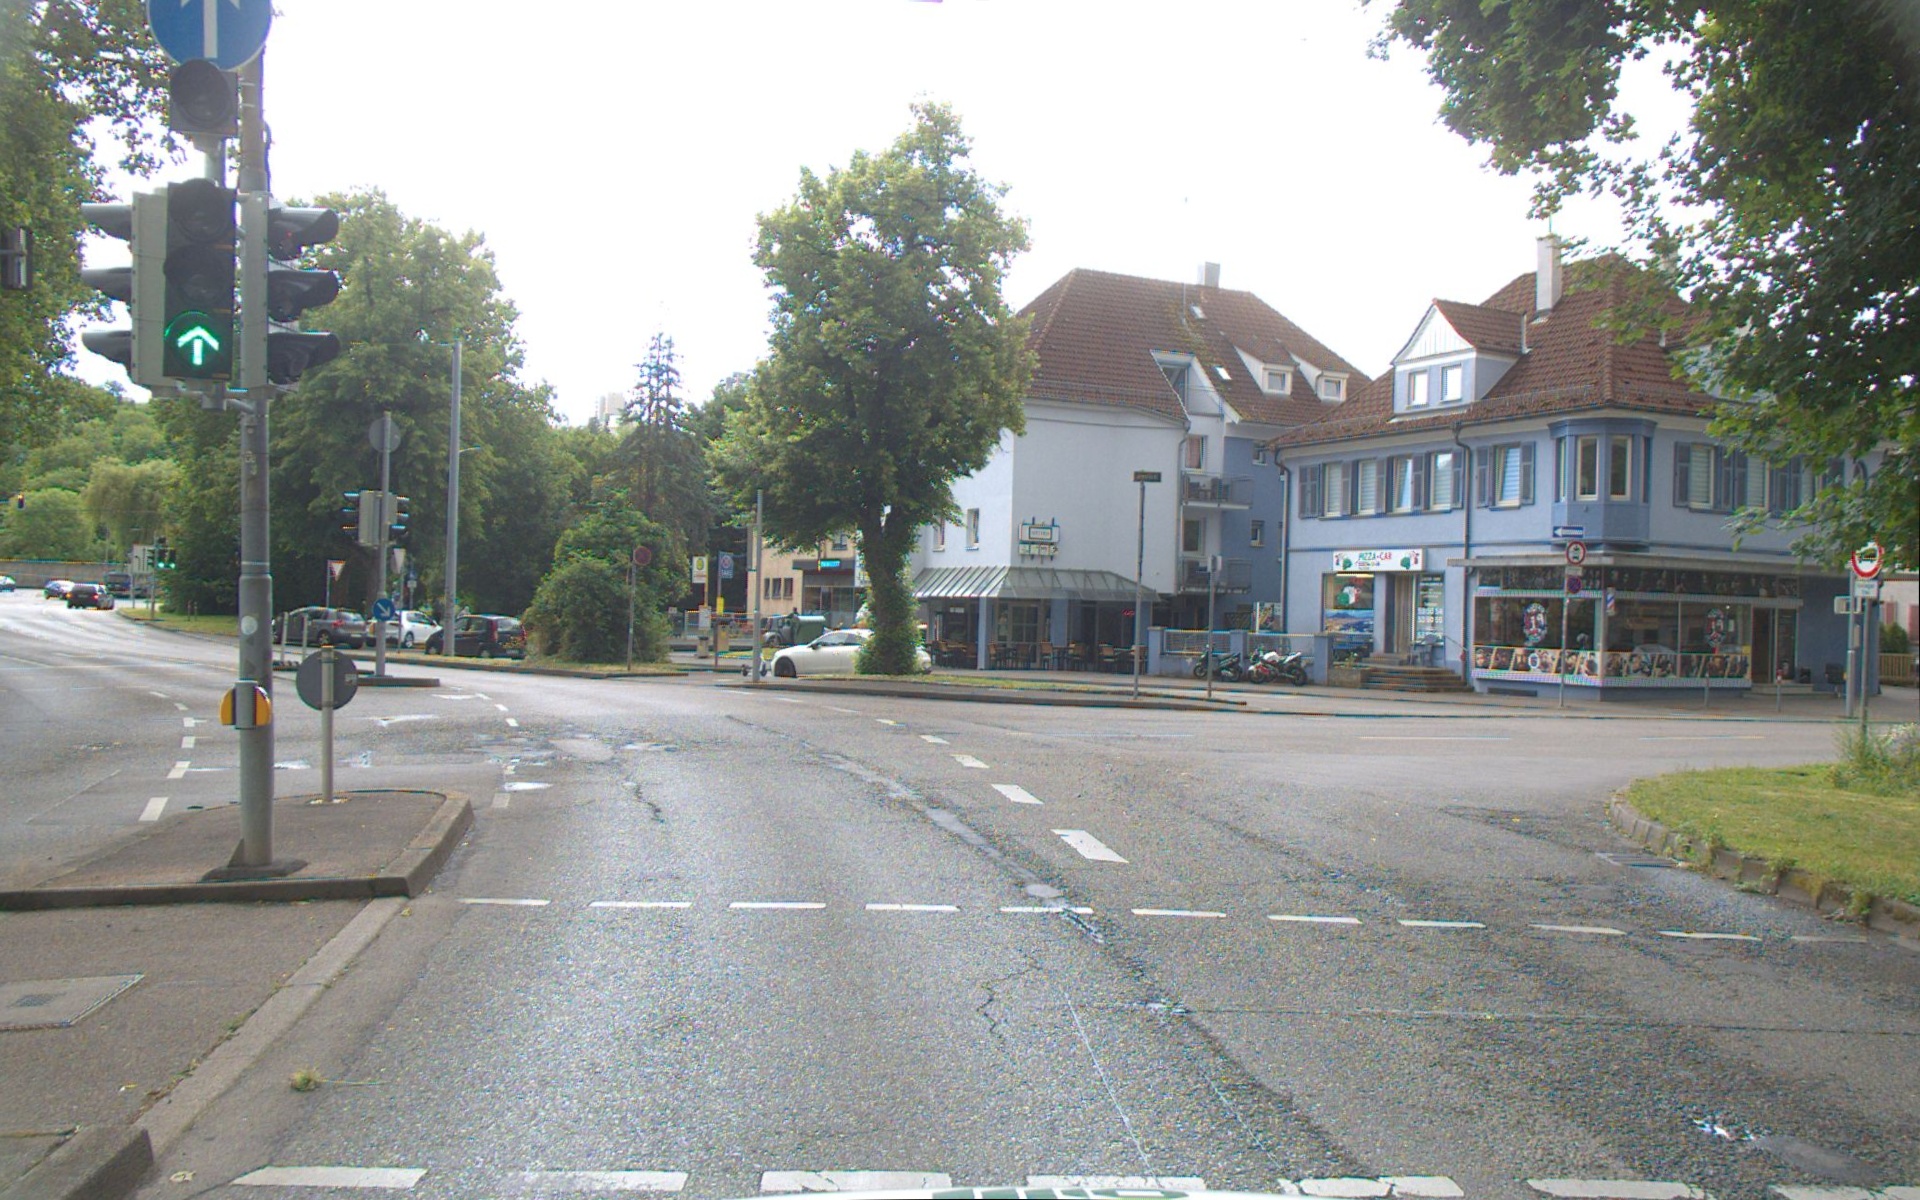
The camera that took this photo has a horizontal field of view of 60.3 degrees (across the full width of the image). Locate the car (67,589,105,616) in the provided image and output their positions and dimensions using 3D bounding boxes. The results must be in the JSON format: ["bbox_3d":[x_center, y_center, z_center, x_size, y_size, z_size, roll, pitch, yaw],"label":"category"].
[{"bbox_3d":[-52.253,0.180,98.841,1.803,1.536,4.528,1,-1,-30],"label":"car"}]

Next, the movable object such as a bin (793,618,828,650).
[{"bbox_3d":[-6.523,1.493,72.060,1.204,1.368,0.985,1,-1,-31],"label":"movable object such as a bin"}]

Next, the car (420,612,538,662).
[{"bbox_3d":[-15.085,1.142,51.884,3.417,1.429,1.571,2,0,29],"label":"car"}]

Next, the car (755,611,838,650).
[{"bbox_3d":[-7.317,1.366,73.998,3.370,1.659,1.612,1,-1,-25],"label":"car"}]

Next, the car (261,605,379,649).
[{"bbox_3d":[-24.078,1.006,62.231,4.016,1.454,1.733,3,0,22],"label":"car"}]

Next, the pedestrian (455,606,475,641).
[{"bbox_3d":[-22.753,1.066,76.088,0.676,1.578,0.735,2,-1,-32],"label":"pedestrian"}]

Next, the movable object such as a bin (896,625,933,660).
[{"bbox_3d":[-1.878,1.761,68.601,1.197,1.420,1.154,1,-1,-21],"label":"movable object such as a bin"}]

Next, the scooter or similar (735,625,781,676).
[{"bbox_3d":[-4.990,1.259,40.830,0.403,1.187,1.361,1,-3,26],"label":"scooter or similar"}]

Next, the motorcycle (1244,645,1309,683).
[{"bbox_3d":[8.883,1.797,46.464,1.791,1.003,0.518,0,-1,43],"label":"motorcycle"}]

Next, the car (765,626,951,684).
[{"bbox_3d":[-2.723,1.421,43.724,4.690,1.411,1.993,0,-1,35],"label":"car"}]

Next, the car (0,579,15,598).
[{"bbox_3d":[-83.700,-1.058,143.177,3.010,1.259,1.432,3,12,-22],"label":"car"}]

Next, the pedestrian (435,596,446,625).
[{"bbox_3d":[-28.868,0.592,91.872,0.503,1.558,0.773,2,-1,-22],"label":"pedestrian"}]

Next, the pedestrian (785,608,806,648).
[{"bbox_3d":[-7.249,1.232,72.907,0.680,1.760,0.605,1,-1,-31],"label":"pedestrian"}]

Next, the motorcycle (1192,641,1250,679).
[{"bbox_3d":[7.596,1.736,48.171,1.695,1.049,0.486,0,-1,43],"label":"motorcycle"}]

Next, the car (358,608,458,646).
[{"bbox_3d":[-21.655,1.067,65.058,1.721,1.405,4.265,2,-1,12],"label":"car"}]
